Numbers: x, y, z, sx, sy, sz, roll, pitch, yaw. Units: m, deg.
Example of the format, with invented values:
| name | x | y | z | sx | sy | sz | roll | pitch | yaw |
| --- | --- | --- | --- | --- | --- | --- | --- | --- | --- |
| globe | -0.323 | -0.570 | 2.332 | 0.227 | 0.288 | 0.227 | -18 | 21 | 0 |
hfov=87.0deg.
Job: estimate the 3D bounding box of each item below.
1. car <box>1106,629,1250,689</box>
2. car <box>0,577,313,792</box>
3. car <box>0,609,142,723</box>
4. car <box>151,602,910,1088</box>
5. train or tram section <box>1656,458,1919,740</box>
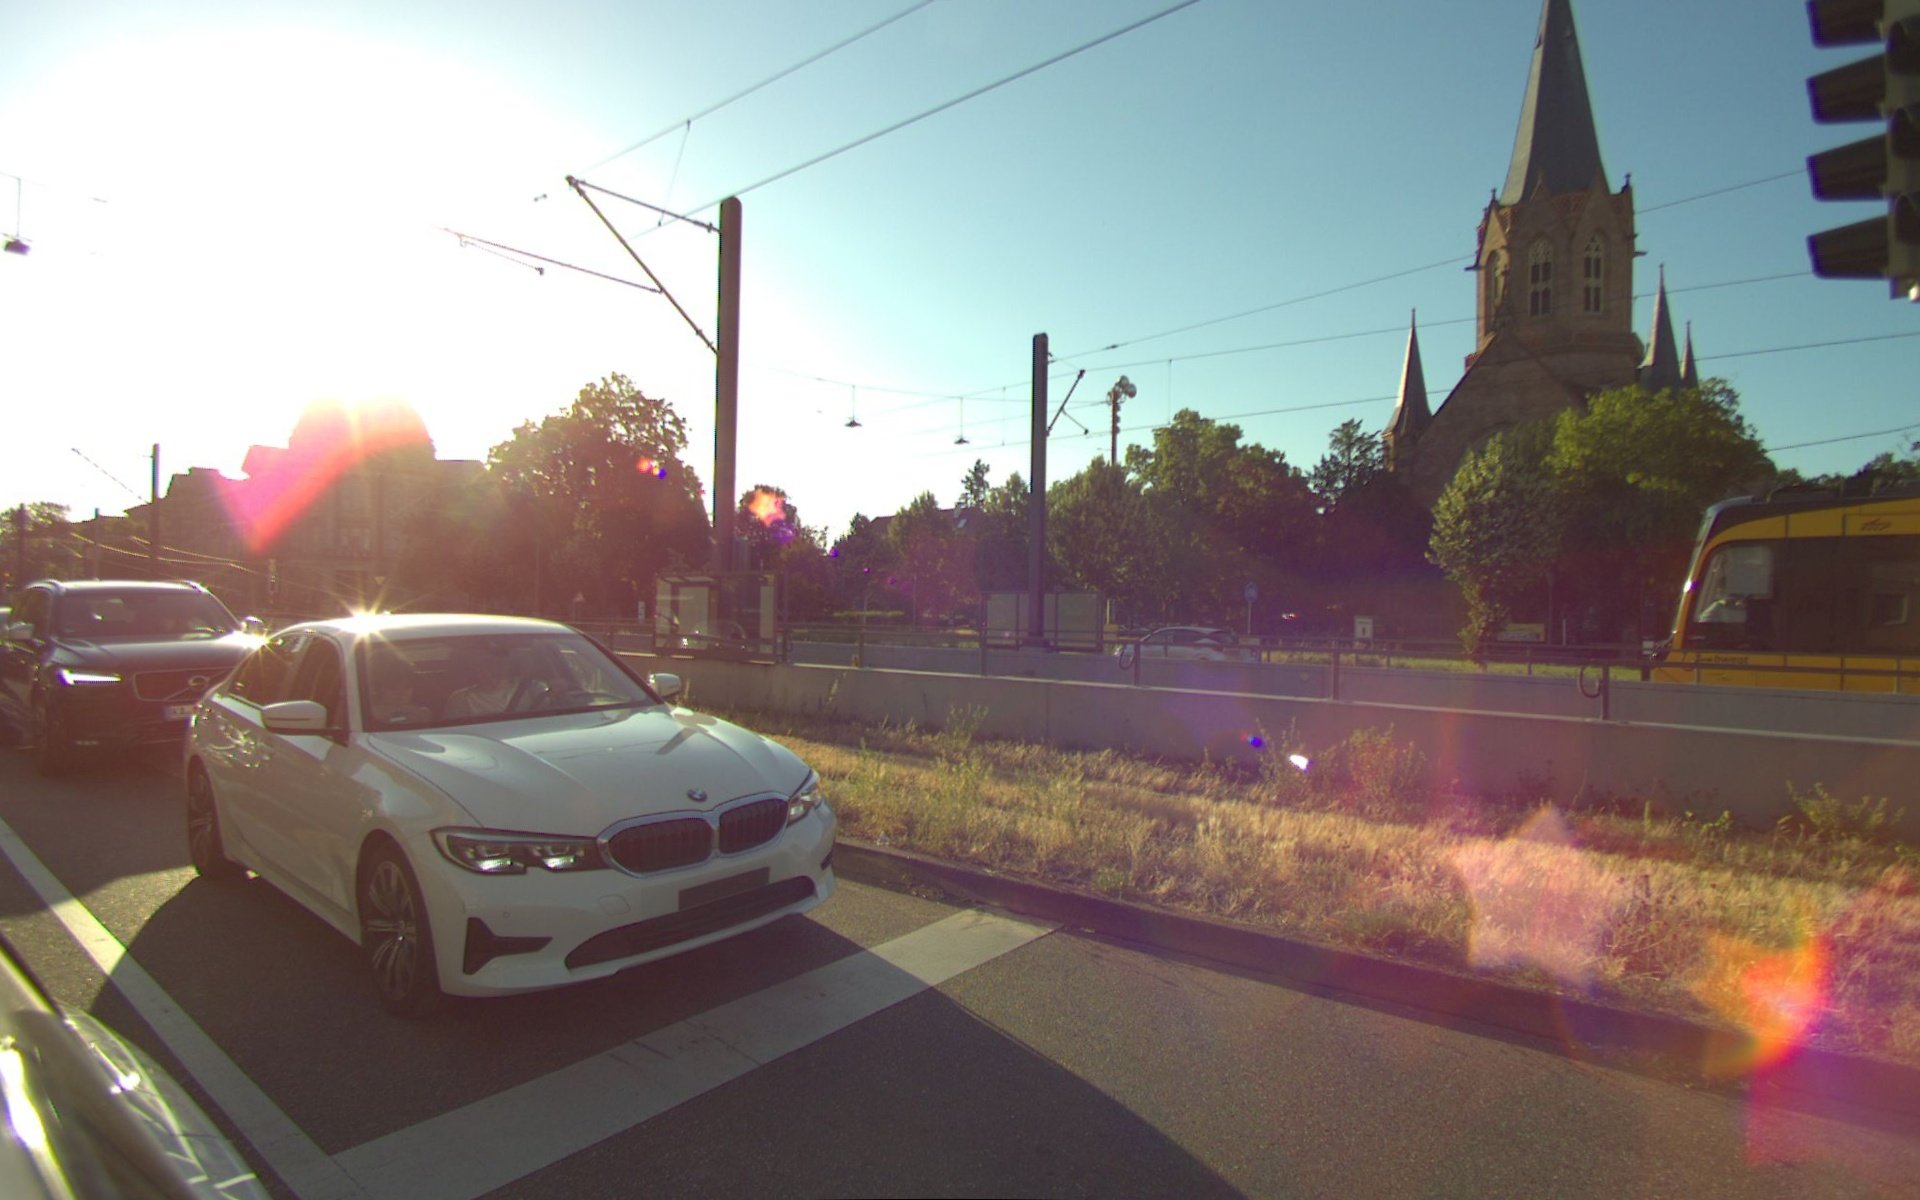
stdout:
| name | x | y | z | sx | sy | sz | roll | pitch | yaw |
| --- | --- | --- | --- | --- | --- | --- | --- | --- | --- |
| car | 6.172 | 1.620 | 28.810 | 3.672 | 1.552 | 1.692 | 0 | -2 | 42 |
| car | -8.666 | 0.678 | 10.439 | 4.846 | 1.725 | 1.932 | 0 | 1 | 39 |
| car | -13.330 | 0.860 | 14.530 | 3.917 | 1.411 | 1.792 | 0 | 1 | 41 |
| car | -2.533 | 0.745 | 5.231 | 4.582 | 1.411 | 1.818 | 0 | 1 | 42 |
| train or tram section | 15.926 | -0.009 | 11.286 | 13.244 | 3.563 | 2.744 | 0 | -1 | 41 |
